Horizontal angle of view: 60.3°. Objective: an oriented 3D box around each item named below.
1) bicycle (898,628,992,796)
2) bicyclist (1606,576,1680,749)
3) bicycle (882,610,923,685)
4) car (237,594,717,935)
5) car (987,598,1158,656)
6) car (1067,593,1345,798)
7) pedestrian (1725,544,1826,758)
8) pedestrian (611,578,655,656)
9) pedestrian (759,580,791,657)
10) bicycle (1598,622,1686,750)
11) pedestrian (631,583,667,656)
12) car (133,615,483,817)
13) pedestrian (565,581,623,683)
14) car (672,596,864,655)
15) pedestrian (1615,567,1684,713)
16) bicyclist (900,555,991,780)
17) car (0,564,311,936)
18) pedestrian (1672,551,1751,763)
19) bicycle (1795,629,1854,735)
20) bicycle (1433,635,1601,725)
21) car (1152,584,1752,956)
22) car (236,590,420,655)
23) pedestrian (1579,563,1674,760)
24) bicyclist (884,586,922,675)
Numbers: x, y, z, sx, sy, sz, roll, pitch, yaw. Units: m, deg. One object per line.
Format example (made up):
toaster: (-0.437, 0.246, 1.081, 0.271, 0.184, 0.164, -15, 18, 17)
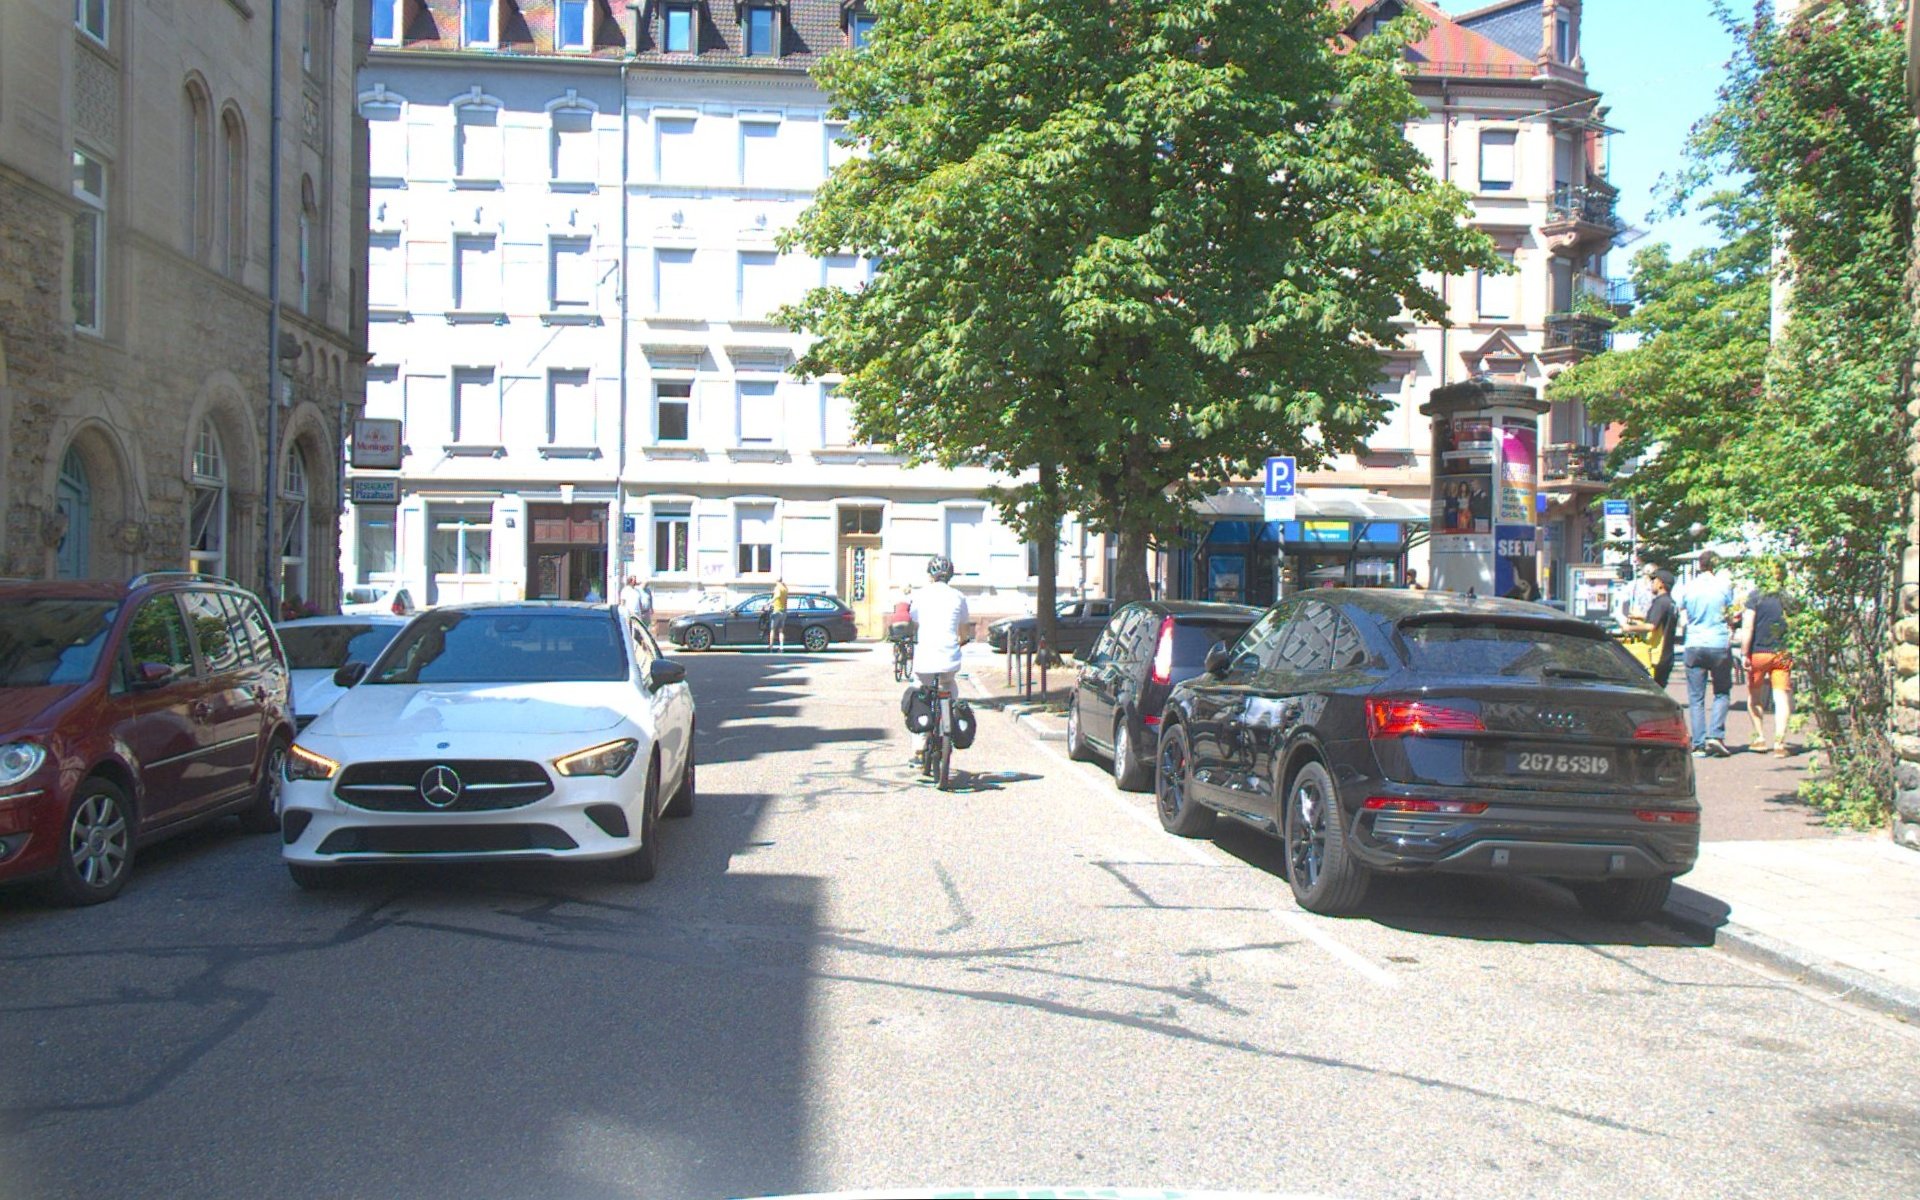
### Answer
bicycle: (-0.163, 0.893, 14.119, 0.639, 1.250, 2.439, 2, 0, -3)
bicyclist: (6.792, 0.606, 16.447, 0.664, 1.676, 0.661, 0, 0, 24)
bicycle: (-1.037, 0.819, 29.398, 0.639, 1.230, 2.440, 2, 0, -3)
car: (-2.509, 0.742, 9.712, 1.805, 1.486, 4.358, -2, 0, -4)
car: (2.877, 0.675, 42.945, 4.210, 1.394, 1.806, 0, 2, -5)
car: (2.103, 0.762, 15.273, 1.630, 1.567, 4.174, 3, 0, -4)
pedestrian: (7.556, 0.460, 15.354, 0.586, 1.913, 0.883, 1, -1, 8)
pedestrian: (-8.162, 0.410, 41.340, 0.832, 1.922, 0.936, 0, 0, 6)
pedestrian: (-4.577, 0.461, 40.979, 0.712, 1.886, 0.682, 0, 0, -14)
bicycle: (7.006, 0.833, 17.036, 0.777, 1.189, 2.578, 0, 0, 22)
pedestrian: (-7.951, 0.504, 42.350, 0.884, 1.846, 0.958, 0, 0, -9)
car: (-5.392, 0.859, 14.303, 1.669, 1.376, 4.509, -2, 0, -7)
pedestrian: (-6.196, 0.537, 28.031, 0.840, 1.701, 0.773, 0, 0, -4)
car: (-4.852, 0.625, 42.239, 4.764, 1.462, 1.998, 0, 0, -5)
pedestrian: (8.834, 0.501, 21.192, 0.743, 1.825, 0.574, 0, 0, -43)
bicyclist: (-0.124, 0.546, 13.687, 0.657, 1.791, 0.609, 2, 0, -3)
car: (-5.033, 0.675, 9.119, 1.640, 1.610, 4.047, -2, 0, -6)
pedestrian: (6.922, 0.514, 15.256, 0.507, 1.901, 0.654, 1, -1, 10)
bicycle: (9.420, 0.859, 18.000, 0.537, 1.057, 1.834, 0, 0, 28)
bicycle: (6.834, 0.974, 20.333, 1.862, 1.057, 0.633, 0, 0, -4)
car: (2.500, 0.774, 9.639, 1.703, 1.624, 4.341, 3, 0, -7)
car: (-15.781, 0.550, 41.462, 3.968, 1.589, 1.805, 0, 0, -6)
pedestrian: (6.145, 0.553, 15.266, 0.625, 1.782, 0.614, 0, 0, -1)
bicyclist: (-1.014, 0.530, 29.227, 0.657, 1.560, 0.609, 0, 0, -3)
